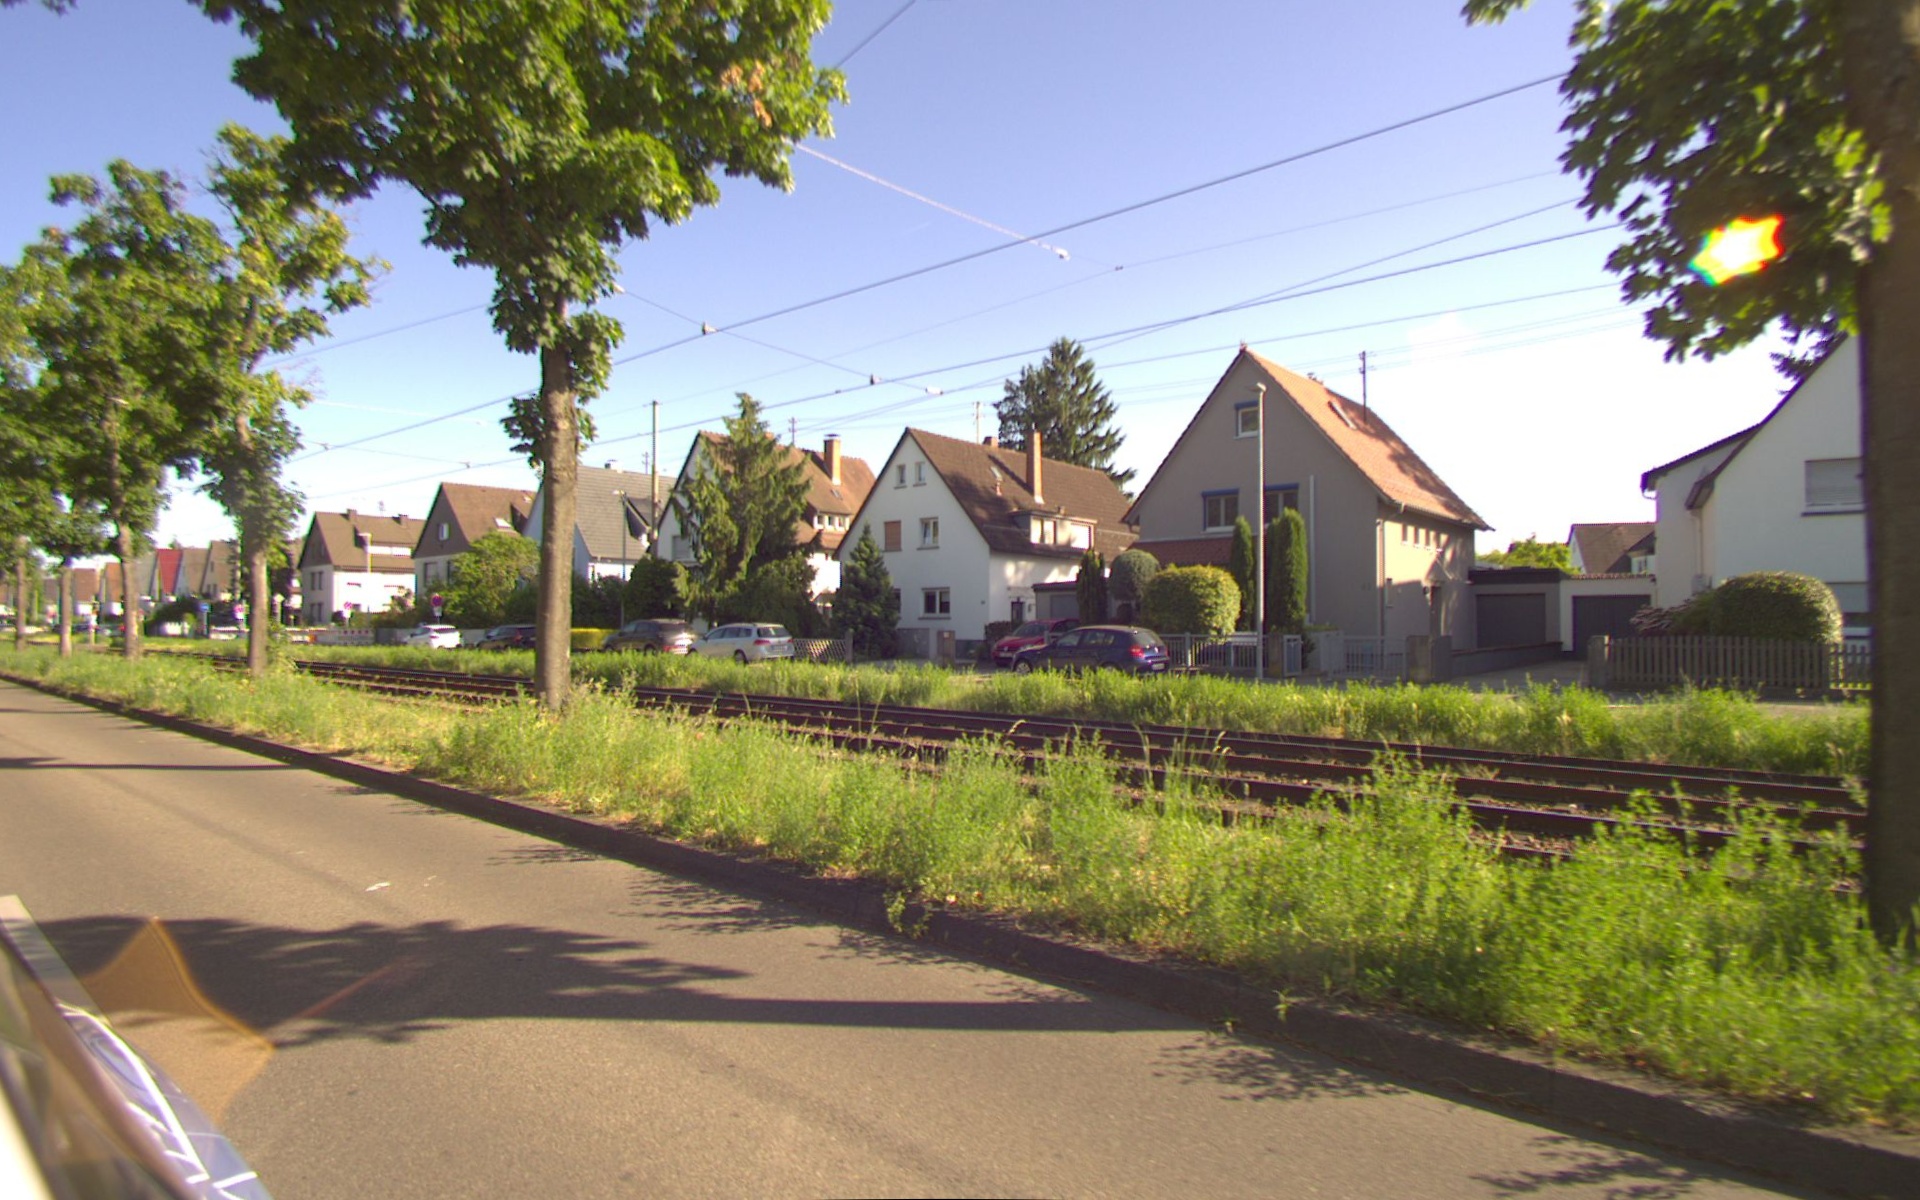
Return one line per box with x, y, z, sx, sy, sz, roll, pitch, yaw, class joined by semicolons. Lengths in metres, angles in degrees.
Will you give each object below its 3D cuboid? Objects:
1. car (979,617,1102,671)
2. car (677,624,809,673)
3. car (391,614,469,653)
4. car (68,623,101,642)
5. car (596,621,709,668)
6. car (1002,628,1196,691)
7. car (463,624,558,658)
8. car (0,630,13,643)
2.675;1.372;32.757;1.746;1.481;4.433;-1;0;39;car
-7.385;1.584;34.083;4.837;1.483;1.864;-2;0;42;car
-26.693;1.672;50.890;4.582;1.877;1.972;-2;-2;42;car
-78.464;2.881;90.657;3.999;1.697;1.762;-2;-2;42;car
-11.364;1.604;37.203;4.534;1.573;1.864;-2;0;41;car
3.288;1.369;24.522;4.308;1.382;1.972;-2;-2;42;car
-19.975;1.786;44.899;4.980;1.351;1.973;-1;0;41;car
-120.382;4.573;127.118;3.999;1.602;1.708;-2;-2;43;car
